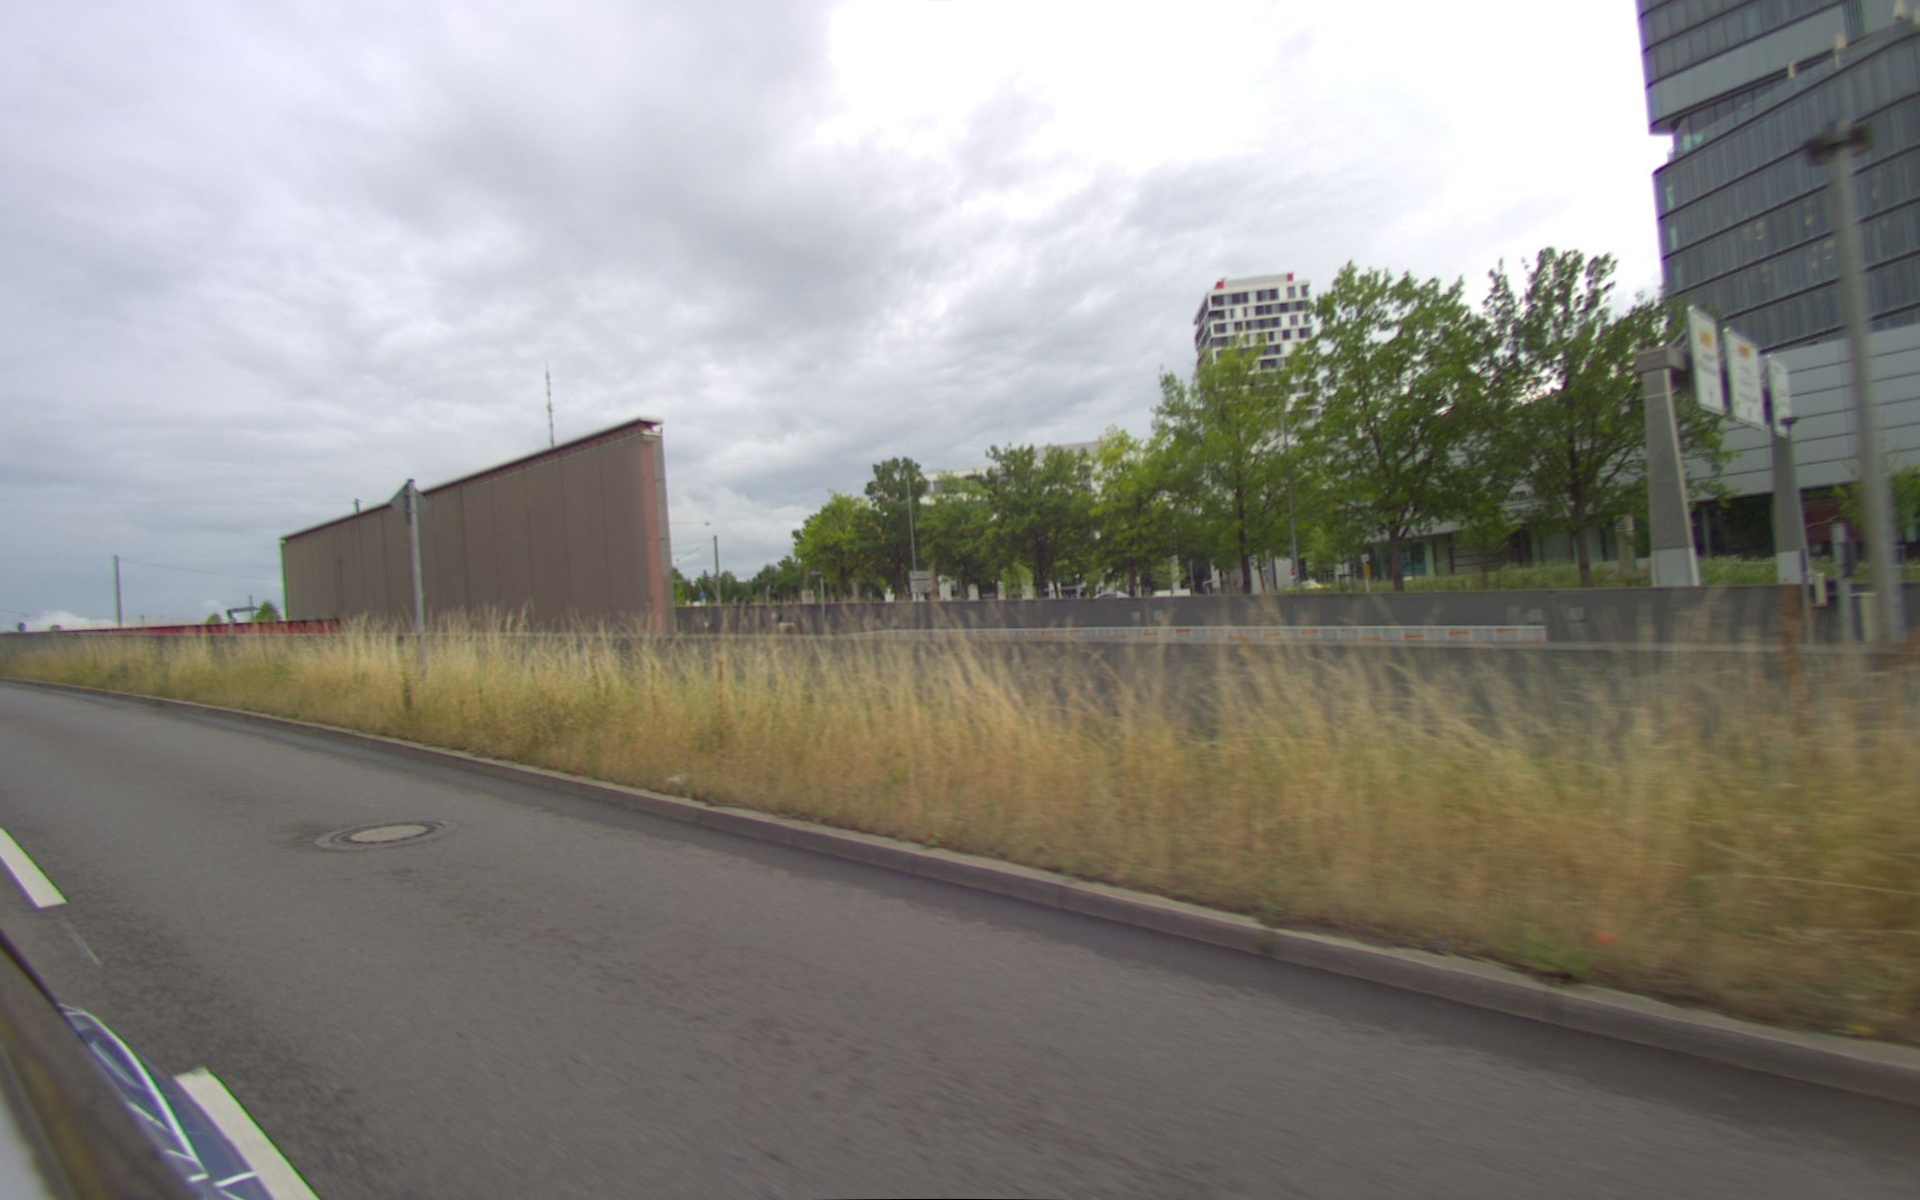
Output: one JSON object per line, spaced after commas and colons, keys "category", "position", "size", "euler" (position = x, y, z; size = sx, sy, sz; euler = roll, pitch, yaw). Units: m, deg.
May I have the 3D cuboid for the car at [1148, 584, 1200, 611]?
{"category": "car", "position": [19.109, -0.204, 90.516], "size": [3.939, 1.862, 2.003], "euler": [-7, -1, -7]}

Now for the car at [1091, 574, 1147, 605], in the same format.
{"category": "car", "position": [13.096, -0.852, 83.377], "size": [3.995, 2.028, 1.975], "euler": [-7, -1, 38]}

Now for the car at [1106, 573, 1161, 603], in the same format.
{"category": "car", "position": [14.681, -1.022, 85.791], "size": [3.995, 2.028, 1.975], "euler": [-7, -1, 38]}

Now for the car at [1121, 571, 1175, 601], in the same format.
{"category": "car", "position": [16.292, -1.198, 87.842], "size": [3.995, 2.028, 1.975], "euler": [-7, -1, 38]}

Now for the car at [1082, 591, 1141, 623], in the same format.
{"category": "car", "position": [11.928, 0.583, 79.736], "size": [3.994, 2.028, 1.975], "euler": [-7, -1, 38]}
